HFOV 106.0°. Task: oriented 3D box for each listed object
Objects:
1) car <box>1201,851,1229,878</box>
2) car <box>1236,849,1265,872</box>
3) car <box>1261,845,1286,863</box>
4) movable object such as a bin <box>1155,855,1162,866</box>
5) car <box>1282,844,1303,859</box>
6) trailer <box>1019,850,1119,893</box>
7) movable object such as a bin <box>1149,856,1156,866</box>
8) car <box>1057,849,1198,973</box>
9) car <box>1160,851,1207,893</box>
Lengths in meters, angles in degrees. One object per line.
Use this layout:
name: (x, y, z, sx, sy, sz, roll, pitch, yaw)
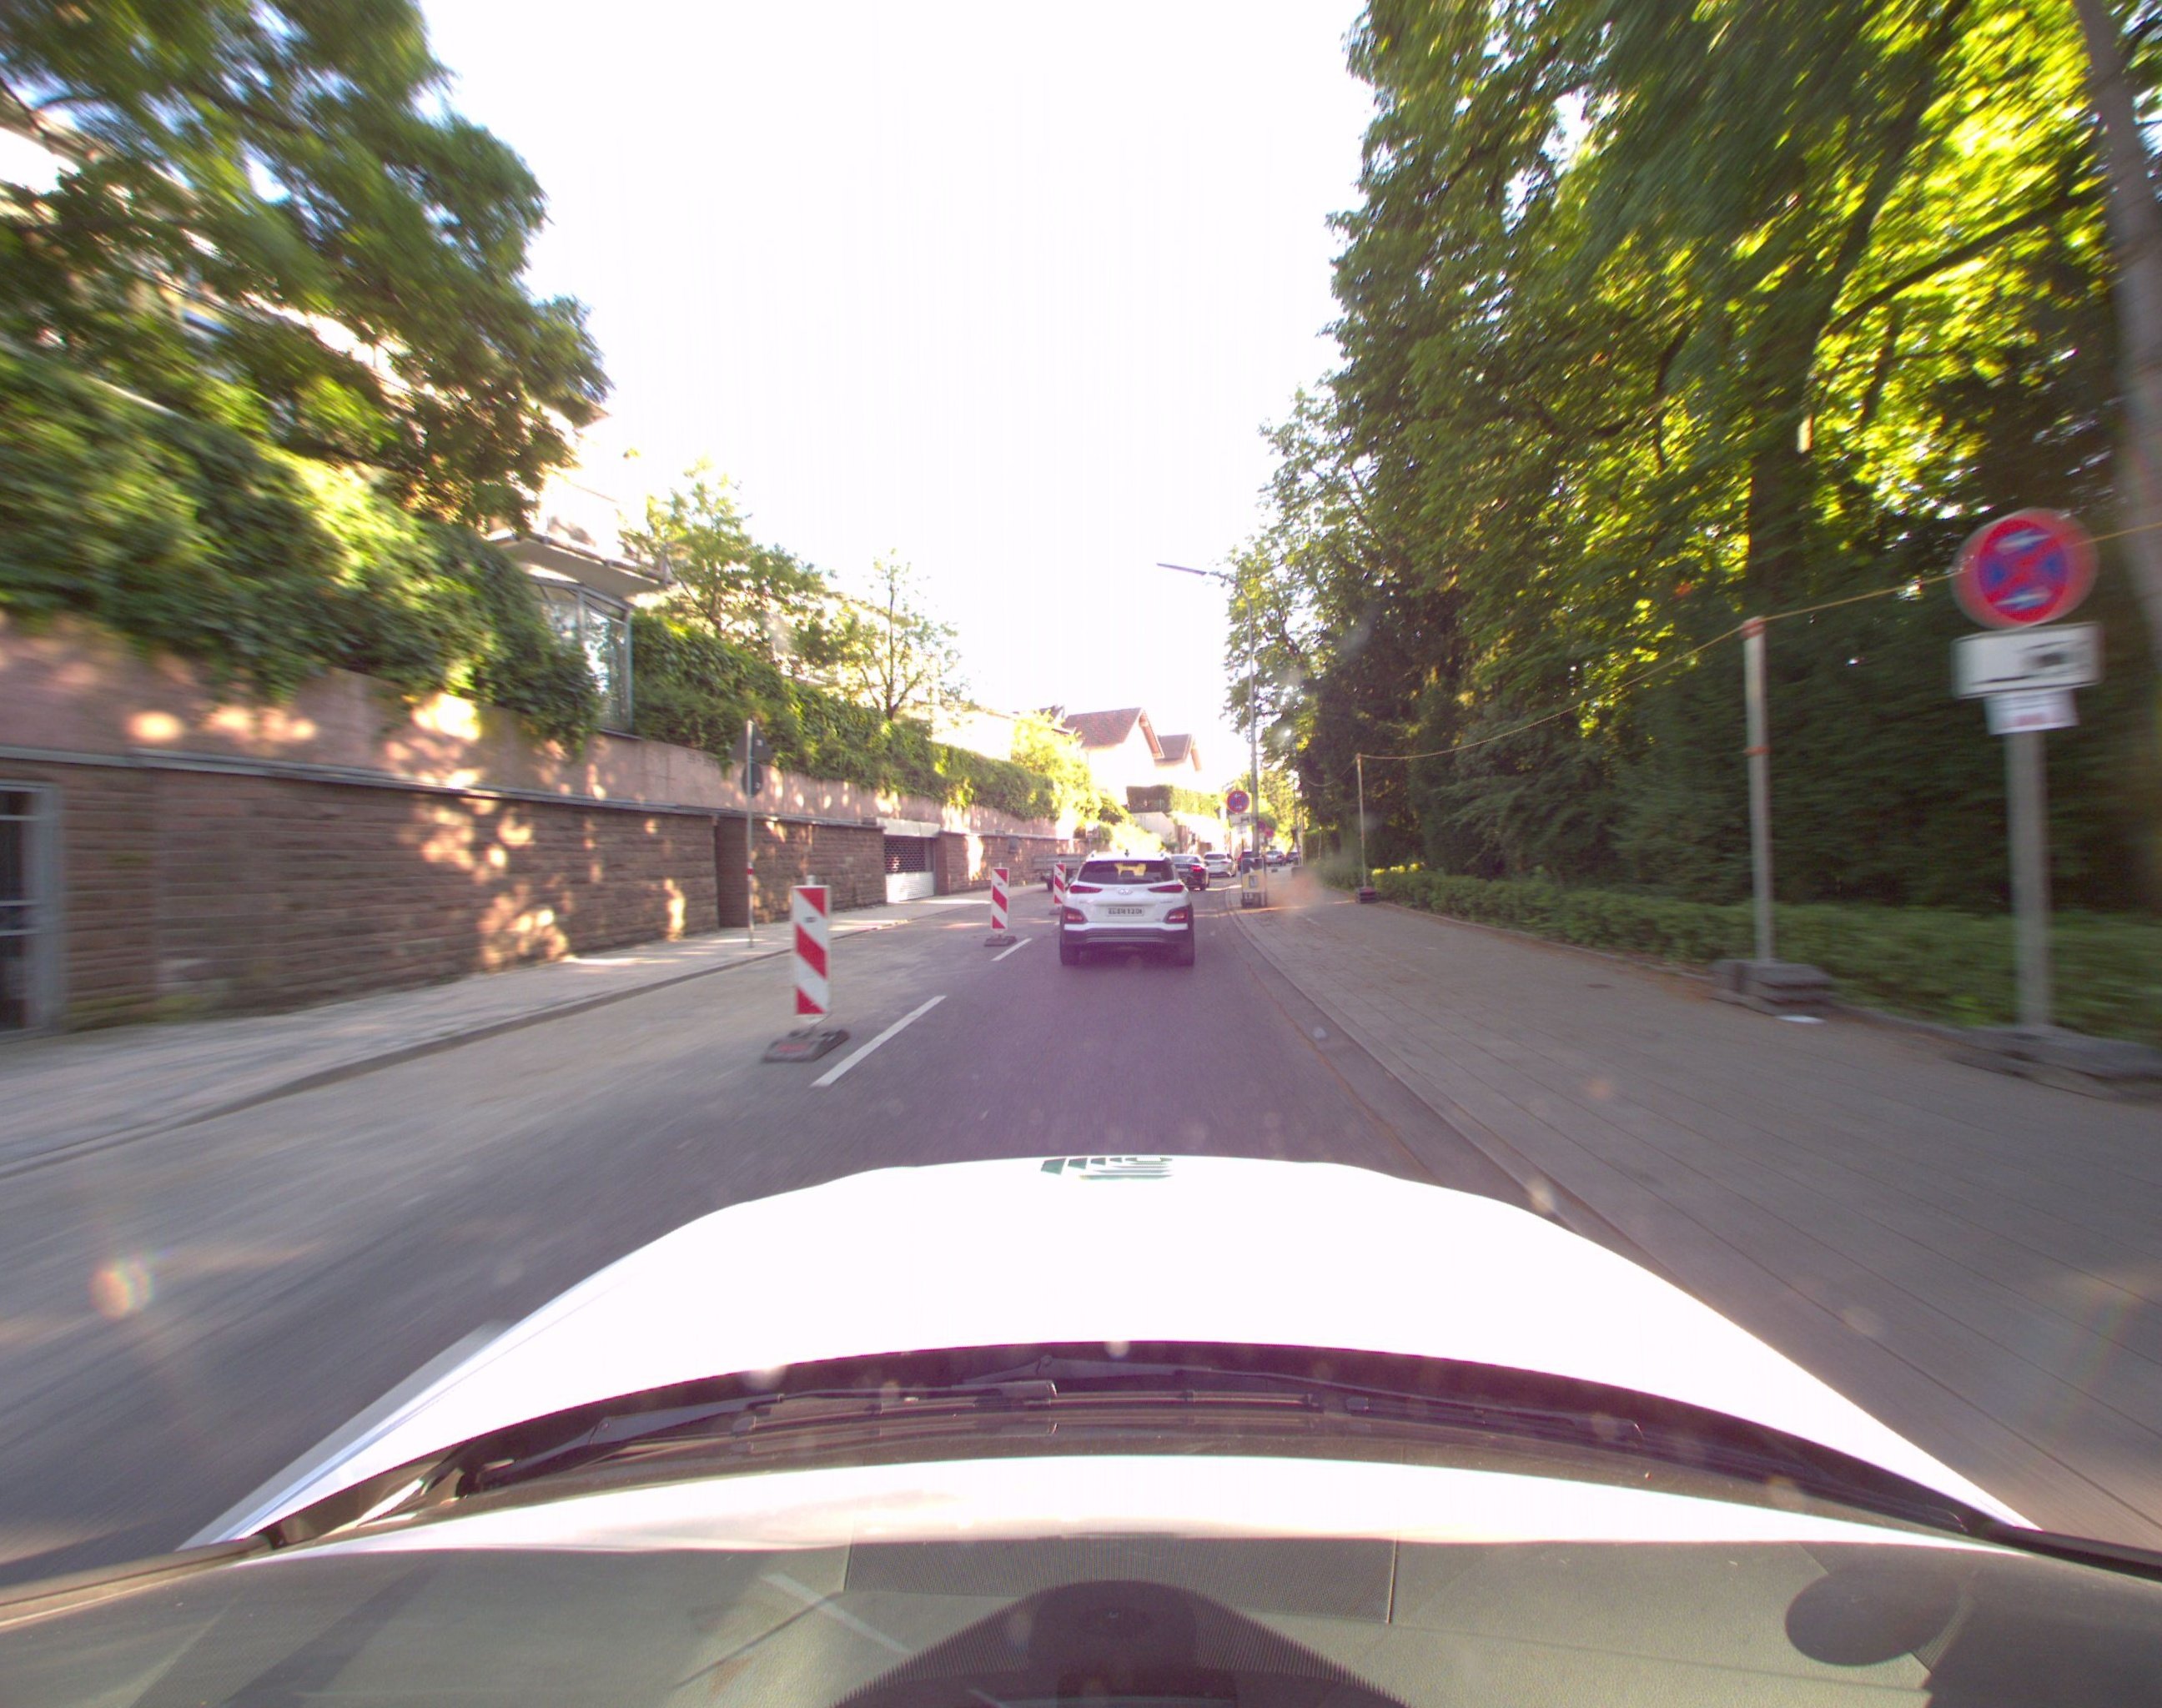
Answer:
car: (7.933, 0.593, 48.312, 1.561, 1.477, 3.556, -2, 0, 9)
car: (13.211, 0.471, 63.412, 1.680, 1.533, 3.899, -6, 0, 17)
car: (18.594, -0.006, 78.425, 1.679, 1.447, 3.902, -6, 0, 21)
movable object such as a bin: (6.423, 0.537, 67.189, 0.452, 0.884, 0.503, -2, 0, 21)
car: (23.706, -0.290, 91.087, 1.679, 1.504, 3.651, -6, 0, 22)
trailer: (-0.305, 0.643, 33.775, 2.623, 1.489, 7.141, -2, 0, 11)
movable object such as a bin: (5.712, 0.562, 65.280, 0.450, 0.834, 0.394, -3, 0, 21)
car: (0.717, 0.712, 12.370, 1.764, 1.542, 4.004, -1, 0, 4)
car: (4.246, 0.681, 33.500, 1.501, 1.533, 3.560, -3, 0, 12)
